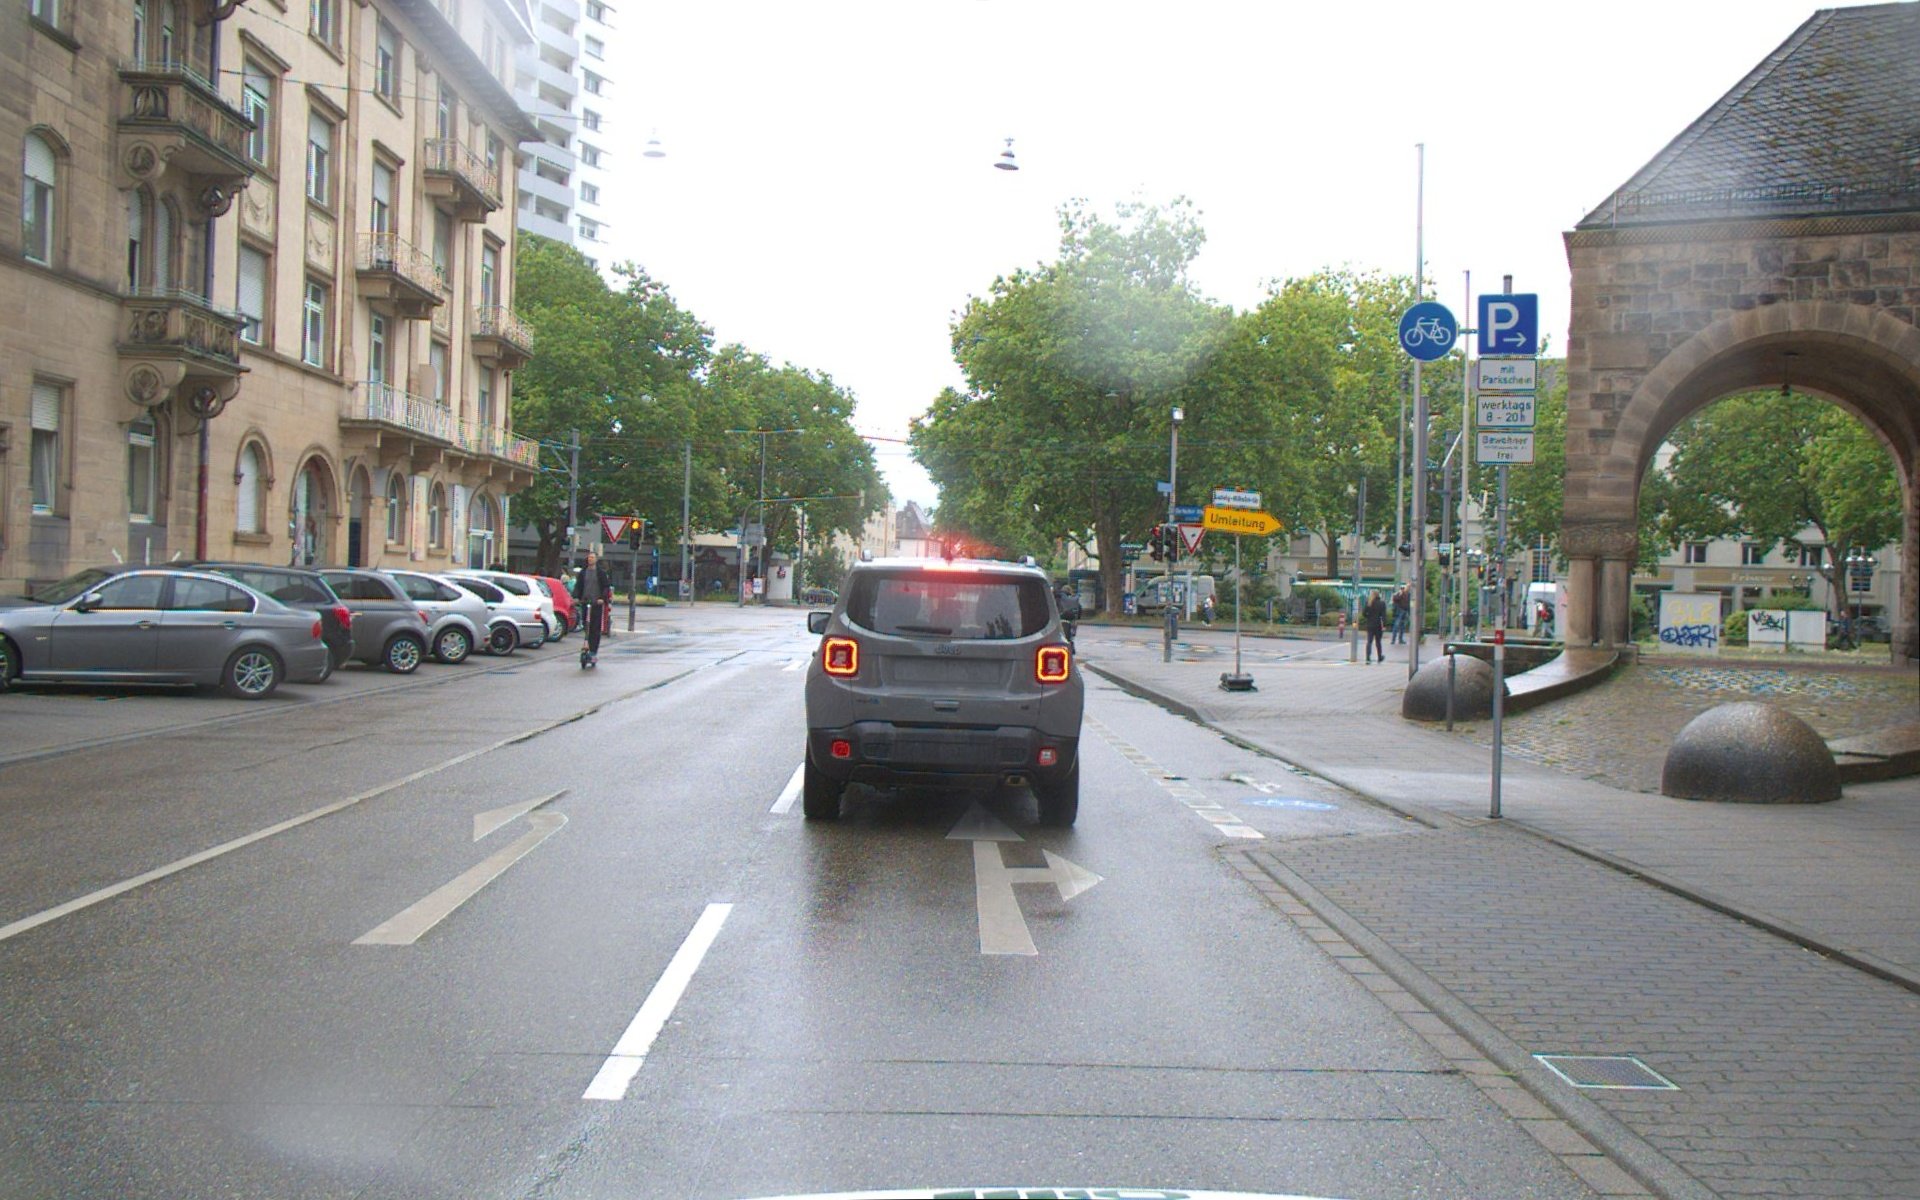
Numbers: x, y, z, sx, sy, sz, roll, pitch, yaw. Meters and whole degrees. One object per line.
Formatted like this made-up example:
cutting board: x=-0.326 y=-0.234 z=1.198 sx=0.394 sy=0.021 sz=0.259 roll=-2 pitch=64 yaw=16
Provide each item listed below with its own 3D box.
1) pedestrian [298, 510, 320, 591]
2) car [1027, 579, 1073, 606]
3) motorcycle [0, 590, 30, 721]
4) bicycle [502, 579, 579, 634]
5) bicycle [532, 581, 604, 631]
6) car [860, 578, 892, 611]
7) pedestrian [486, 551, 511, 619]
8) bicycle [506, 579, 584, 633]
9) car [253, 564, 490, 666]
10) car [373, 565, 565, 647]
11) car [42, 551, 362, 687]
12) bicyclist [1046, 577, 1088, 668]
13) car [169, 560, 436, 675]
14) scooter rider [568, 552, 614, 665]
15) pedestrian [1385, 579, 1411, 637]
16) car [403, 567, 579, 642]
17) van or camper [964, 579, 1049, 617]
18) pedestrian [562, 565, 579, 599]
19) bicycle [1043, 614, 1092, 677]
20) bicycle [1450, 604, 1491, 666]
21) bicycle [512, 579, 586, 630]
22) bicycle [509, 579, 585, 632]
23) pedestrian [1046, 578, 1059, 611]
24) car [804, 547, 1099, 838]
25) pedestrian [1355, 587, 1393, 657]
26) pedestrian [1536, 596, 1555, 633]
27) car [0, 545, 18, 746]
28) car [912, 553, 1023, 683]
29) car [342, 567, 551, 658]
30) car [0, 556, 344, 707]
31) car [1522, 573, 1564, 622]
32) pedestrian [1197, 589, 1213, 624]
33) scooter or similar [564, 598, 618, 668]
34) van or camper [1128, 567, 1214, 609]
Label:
pedestrian: x=-14.907 y=-1.125 z=37.858 sx=0.359 sy=1.854 sz=0.347 roll=1 pitch=0 yaw=-3
car: x=6.959 y=-0.554 z=128.008 sx=3.363 sy=2.049 sz=1.549 roll=1 pitch=0 yaw=13
motorcycle: x=-9.453 y=0.459 z=14.798 sx=1.853 sy=1.182 sz=0.625 roll=4 pitch=-1 yaw=-38
bicycle: x=-10.262 y=0.156 z=40.460 sx=1.728 sy=1.288 sz=0.522 roll=1 pitch=0 yaw=-2
bicycle: x=-10.333 y=0.150 z=43.598 sx=1.728 sy=1.288 sz=0.608 roll=1 pitch=0 yaw=-2
car: x=-4.764 y=-0.330 z=93.318 sx=1.687 sy=1.769 sz=3.727 roll=1 pitch=1 yaw=-4
pedestrian: x=-14.112 y=-0.464 z=50.604 sx=0.556 sy=2.049 sz=0.654 roll=1 pitch=0 yaw=0
bicycle: x=-10.281 y=0.141 z=41.007 sx=1.774 sy=1.288 sz=0.498 roll=1 pitch=0 yaw=-2
car: x=-9.794 y=0.239 z=27.618 sx=3.370 sy=1.585 sz=1.682 roll=1 pitch=1 yaw=-40
car: x=-9.997 y=0.121 z=33.730 sx=3.370 sy=1.585 sz=1.682 roll=1 pitch=1 yaw=-40
car: x=-9.855 y=0.235 z=21.615 sx=3.519 sy=1.626 sz=1.583 roll=1 pitch=1 yaw=-40
bicyclist: x=1.964 y=0.401 z=30.439 sx=0.673 sy=1.645 sz=0.883 roll=0 pitch=0 yaw=-1
car: x=-9.770 y=0.255 z=24.654 sx=3.370 sy=1.585 sz=1.629 roll=1 pitch=1 yaw=-40
scooter rider: x=-6.523 y=0.146 z=29.276 sx=0.696 sy=1.969 sz=0.503 roll=1 pitch=0 yaw=-3
pedestrian: x=13.735 y=0.249 z=51.865 sx=0.769 sy=1.790 sz=0.946 roll=1 pitch=0 yaw=15
car: x=-10.364 y=0.106 z=36.644 sx=3.370 sy=1.585 sz=1.682 roll=1 pitch=1 yaw=-40
van or camper: x=3.779 y=-0.174 z=133.869 sx=6.400 sy=2.963 sz=2.492 roll=1 pitch=0 yaw=27
pedestrian: x=-21.692 y=-1.001 z=92.048 sx=0.677 sy=1.858 sz=0.621 roll=1 pitch=0 yaw=16
bicycle: x=1.960 y=0.816 z=30.512 sx=0.677 sy=1.039 sz=2.657 roll=0 pitch=1 yaw=-1
bicycle: x=10.247 y=0.689 z=33.236 sx=0.322 sy=1.174 sz=2.076 roll=1 pitch=0 yaw=5
bicycle: x=-10.613 y=0.108 z=42.720 sx=1.728 sy=1.288 sz=0.608 roll=1 pitch=0 yaw=-2
bicycle: x=-10.411 y=0.140 z=41.691 sx=1.774 sy=1.288 sz=0.498 roll=1 pitch=0 yaw=-2
pedestrian: x=5.646 y=-0.336 z=101.102 sx=0.637 sy=2.049 sz=0.483 roll=1 pitch=0 yaw=12
car: x=-0.080 y=0.529 z=11.739 sx=1.739 sy=1.716 sz=3.847 roll=0 pitch=1 yaw=-1
pedestrian: x=10.081 y=0.529 z=40.303 sx=0.767 sy=1.674 sz=0.654 roll=1 pitch=0 yaw=25
pedestrian: x=25.778 y=0.656 z=72.824 sx=0.660 sy=1.581 sz=0.761 roll=1 pitch=-1 yaw=28
car: x=-9.529 y=0.328 z=12.432 sx=4.008 sy=1.583 sz=1.772 roll=0 pitch=1 yaw=-41
car: x=0.108 y=0.259 z=28.554 sx=1.734 sy=2.049 sz=4.000 roll=1 pitch=1 yaw=0
car: x=-9.588 y=0.233 z=30.969 sx=3.370 sy=1.585 sz=1.682 roll=1 pitch=1 yaw=-40
car: x=-9.522 y=0.322 z=18.693 sx=4.512 sy=1.572 sz=1.662 roll=1 pitch=1 yaw=-44
car: x=32.546 y=-0.136 z=92.290 sx=1.868 sy=2.600 sz=4.785 roll=1 pitch=0 yaw=23
pedestrian: x=11.490 y=0.322 z=77.692 sx=0.600 sy=1.631 sz=0.494 roll=1 pitch=0 yaw=24
scooter or similar: x=-6.527 y=0.571 z=29.277 sx=0.686 sy=1.185 sz=1.384 roll=1 pitch=1 yaw=-2
van or camper: x=13.131 y=-0.762 z=103.286 sx=5.149 sy=2.355 sz=2.091 roll=2 pitch=1 yaw=3
